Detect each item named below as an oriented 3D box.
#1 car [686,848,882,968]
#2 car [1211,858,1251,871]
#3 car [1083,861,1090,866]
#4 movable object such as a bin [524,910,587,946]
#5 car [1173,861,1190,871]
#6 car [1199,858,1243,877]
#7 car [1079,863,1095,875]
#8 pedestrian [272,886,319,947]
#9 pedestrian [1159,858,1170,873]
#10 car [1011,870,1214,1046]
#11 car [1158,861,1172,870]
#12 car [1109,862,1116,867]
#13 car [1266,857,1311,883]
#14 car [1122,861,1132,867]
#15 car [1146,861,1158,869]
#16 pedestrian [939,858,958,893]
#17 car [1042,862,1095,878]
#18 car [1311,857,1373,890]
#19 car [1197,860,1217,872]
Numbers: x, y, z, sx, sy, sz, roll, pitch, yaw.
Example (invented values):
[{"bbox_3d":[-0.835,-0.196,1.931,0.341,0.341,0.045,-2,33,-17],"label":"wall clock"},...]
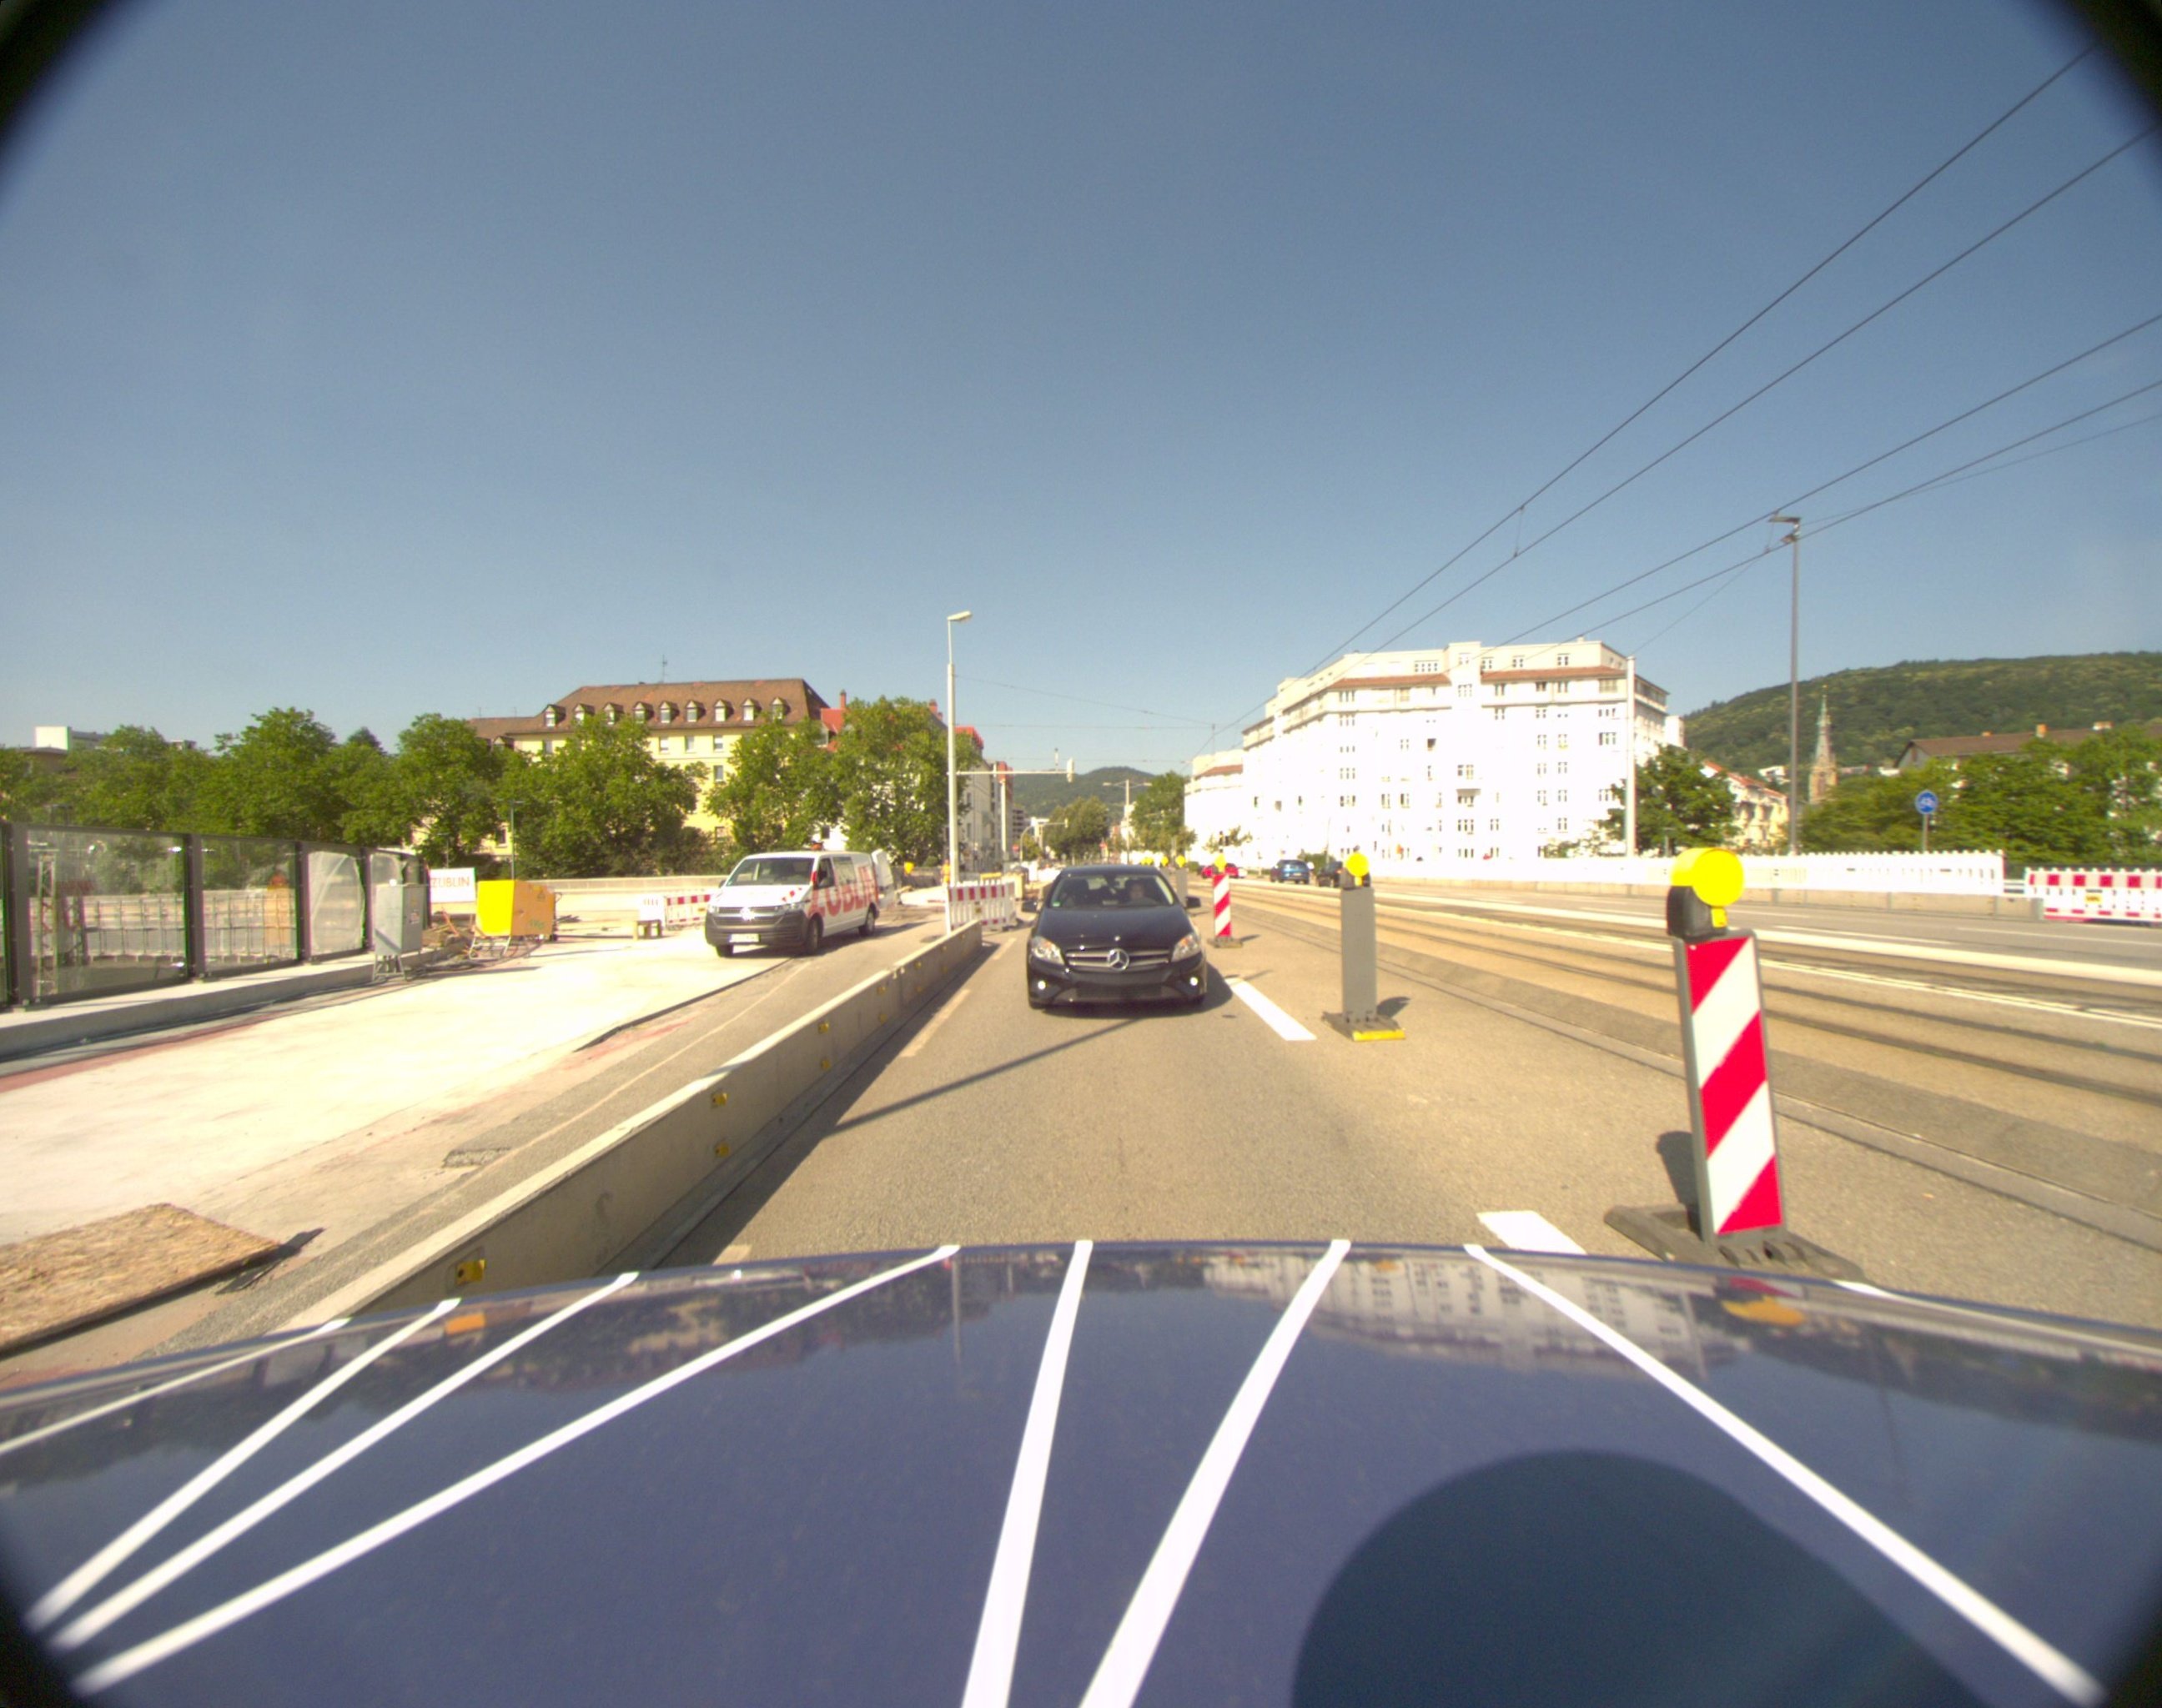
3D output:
[{"bbox_3d":[-5.805,0.943,15.646,1.883,2.021,4.891,-2,0,2],"label":"car"},{"bbox_3d":[15.938,1.101,80.873,1.705,1.404,4.475,0,0,-30],"label":"car"},{"bbox_3d":[1.587,2.709,224.259,1.798,1.475,3.739,-1,0,-3],"label":"car"},{"bbox_3d":[-13.126,1.836,19.003,0.754,0.837,1.107,-1,-3,40],"label":"movable object such as a bin"},{"bbox_3d":[15.304,1.861,115.821,1.740,1.475,3.739,-1,0,-5],"label":"car"},{"bbox_3d":[11.527,1.151,62.827,1.540,1.429,3.973,-4,0,-22],"label":"car"},{"bbox_3d":[0.738,1.744,89.489,1.766,1.313,4.001,-2,-1,1],"label":"car"},{"bbox_3d":[-31.860,2.514,30.843,0.878,2.319,0.797,-6,1,-25],"label":"pedestrian"},{"bbox_3d":[9.543,1.292,86.653,1.003,1.697,0.822,-1,1,-7],"label":"pedestrian"},{"bbox_3d":[0.338,0.944,8.849,1.702,1.400,4.623,-2,0,2],"label":"car"},{"bbox_3d":[14.437,2.019,131.213,1.740,1.475,3.739,-1,0,-5],"label":"car"},{"bbox_3d":[8.438,2.803,204.187,1.739,1.475,3.739,-1,0,-3],"label":"car"},{"bbox_3d":[13.214,0.994,48.678,1.674,1.541,4.556,0,0,0],"label":"car"},{"bbox_3d":[10.695,2.279,175.739,1.740,1.475,3.739,-1,0,-5],"label":"car"},{"bbox_3d":[13.470,2.157,144.218,1.740,1.475,3.739,-1,0,-5],"label":"car"},{"bbox_3d":[-6.822,1.097,39.174,0.821,1.784,0.864,1,0,-1],"label":"pedestrian"},{"bbox_3d":[-1.155,1.494,70.909,4.633,1.429,1.645,1,0,17],"label":"car"},{"bbox_3d":[12.449,0.883,36.468,1.509,1.491,4.177,1,0,0],"label":"car"},{"bbox_3d":[17.070,1.622,103.204,1.740,1.628,3.738,-1,0,-7],"label":"car"}]
